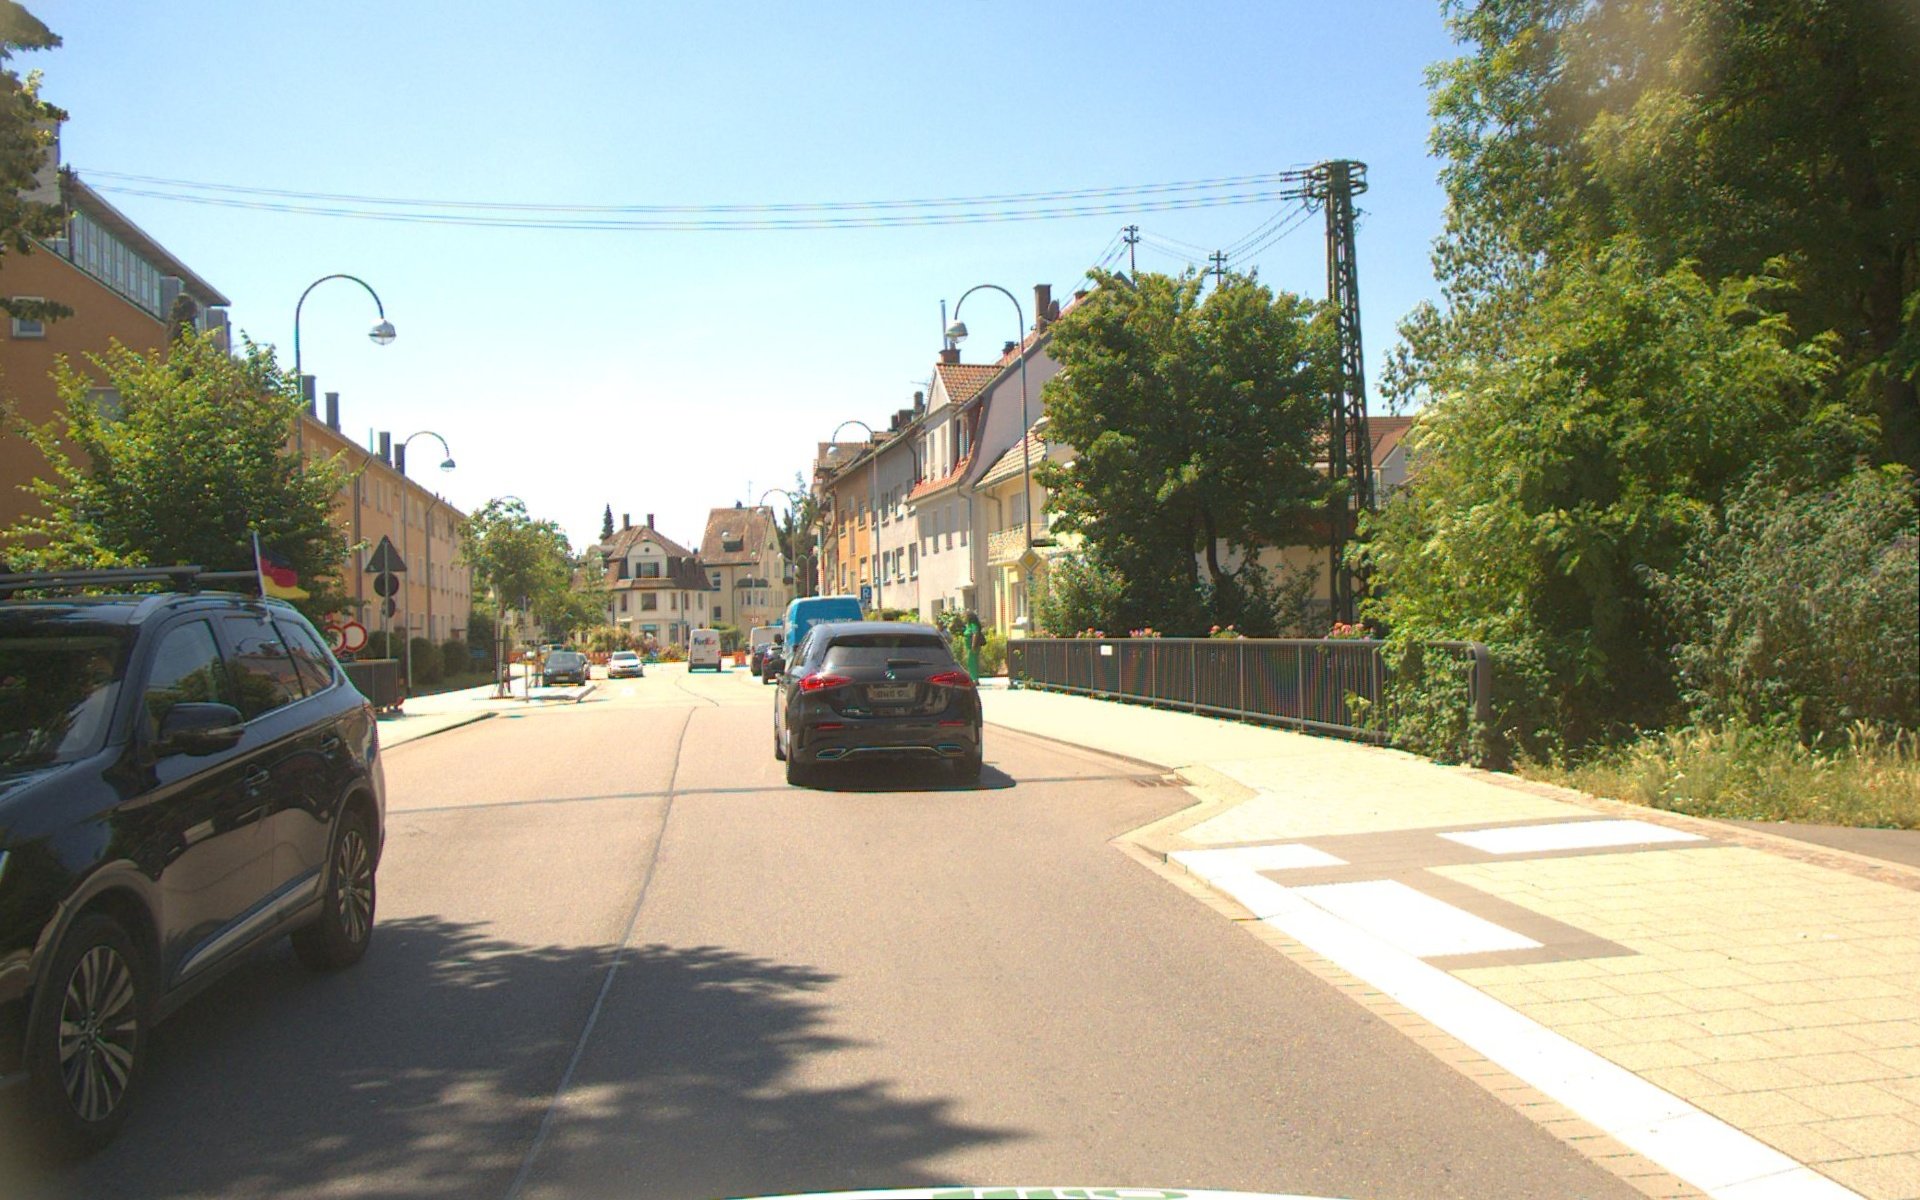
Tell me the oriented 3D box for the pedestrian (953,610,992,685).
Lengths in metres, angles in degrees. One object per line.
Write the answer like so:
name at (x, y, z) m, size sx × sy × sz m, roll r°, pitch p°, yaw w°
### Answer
pedestrian at (0.296, 1.148, 39.895) m, size 0.653 × 1.772 × 0.696 m, roll -1°, pitch -2°, yaw -27°

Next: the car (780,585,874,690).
car at (-3.619, 1.003, 44.163) m, size 2.093 × 2.586 × 4.639 m, roll -2°, pitch -1°, yaw -9°

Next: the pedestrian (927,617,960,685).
pedestrian at (-0.413, 1.258, 40.677) m, size 0.603 × 1.641 × 0.834 m, roll -1°, pitch -1°, yaw -14°

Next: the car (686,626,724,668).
car at (-15.691, 2.855, 101.444) m, size 2.204 × 2.384 × 4.841 m, roll -1°, pitch 0°, yaw -10°

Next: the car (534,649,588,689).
car at (-17.491, 2.990, 72.655) m, size 1.957 × 1.689 × 3.991 m, roll 1°, pitch -1°, yaw -9°

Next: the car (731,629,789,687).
car at (-7.719, 2.181, 63.590) m, size 1.957 × 2.049 × 3.990 m, roll -1°, pitch 0°, yaw -10°

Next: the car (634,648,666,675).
car at (-20.636, 4.080, 110.117) m, size 1.957 × 1.689 × 3.991 m, roll 1°, pitch -1°, yaw -9°

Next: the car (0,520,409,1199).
car at (-3.390, 0.774, 5.908) m, size 1.707 × 1.803 × 4.332 m, roll -3°, pitch 0°, yaw -6°

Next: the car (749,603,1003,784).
car at (-0.954, 0.923, 16.095) m, size 1.796 × 1.467 × 3.986 m, roll -2°, pitch -4°, yaw -13°

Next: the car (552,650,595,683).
car at (-20.846, 3.567, 89.396) m, size 1.957 × 1.689 × 3.991 m, roll 1°, pitch -1°, yaw -9°

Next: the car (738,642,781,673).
car at (-10.277, 2.899, 84.684) m, size 1.957 × 1.416 × 4.318 m, roll -1°, pitch 0°, yaw -10°

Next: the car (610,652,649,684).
car at (-18.404, 3.757, 92.138) m, size 1.957 × 1.689 × 3.991 m, roll 1°, pitch -1°, yaw -9°

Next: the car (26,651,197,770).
car at (-16.764, 2.123, 32.900) m, size 1.958 × 2.049 × 3.988 m, roll -1°, pitch 0°, yaw -12°
